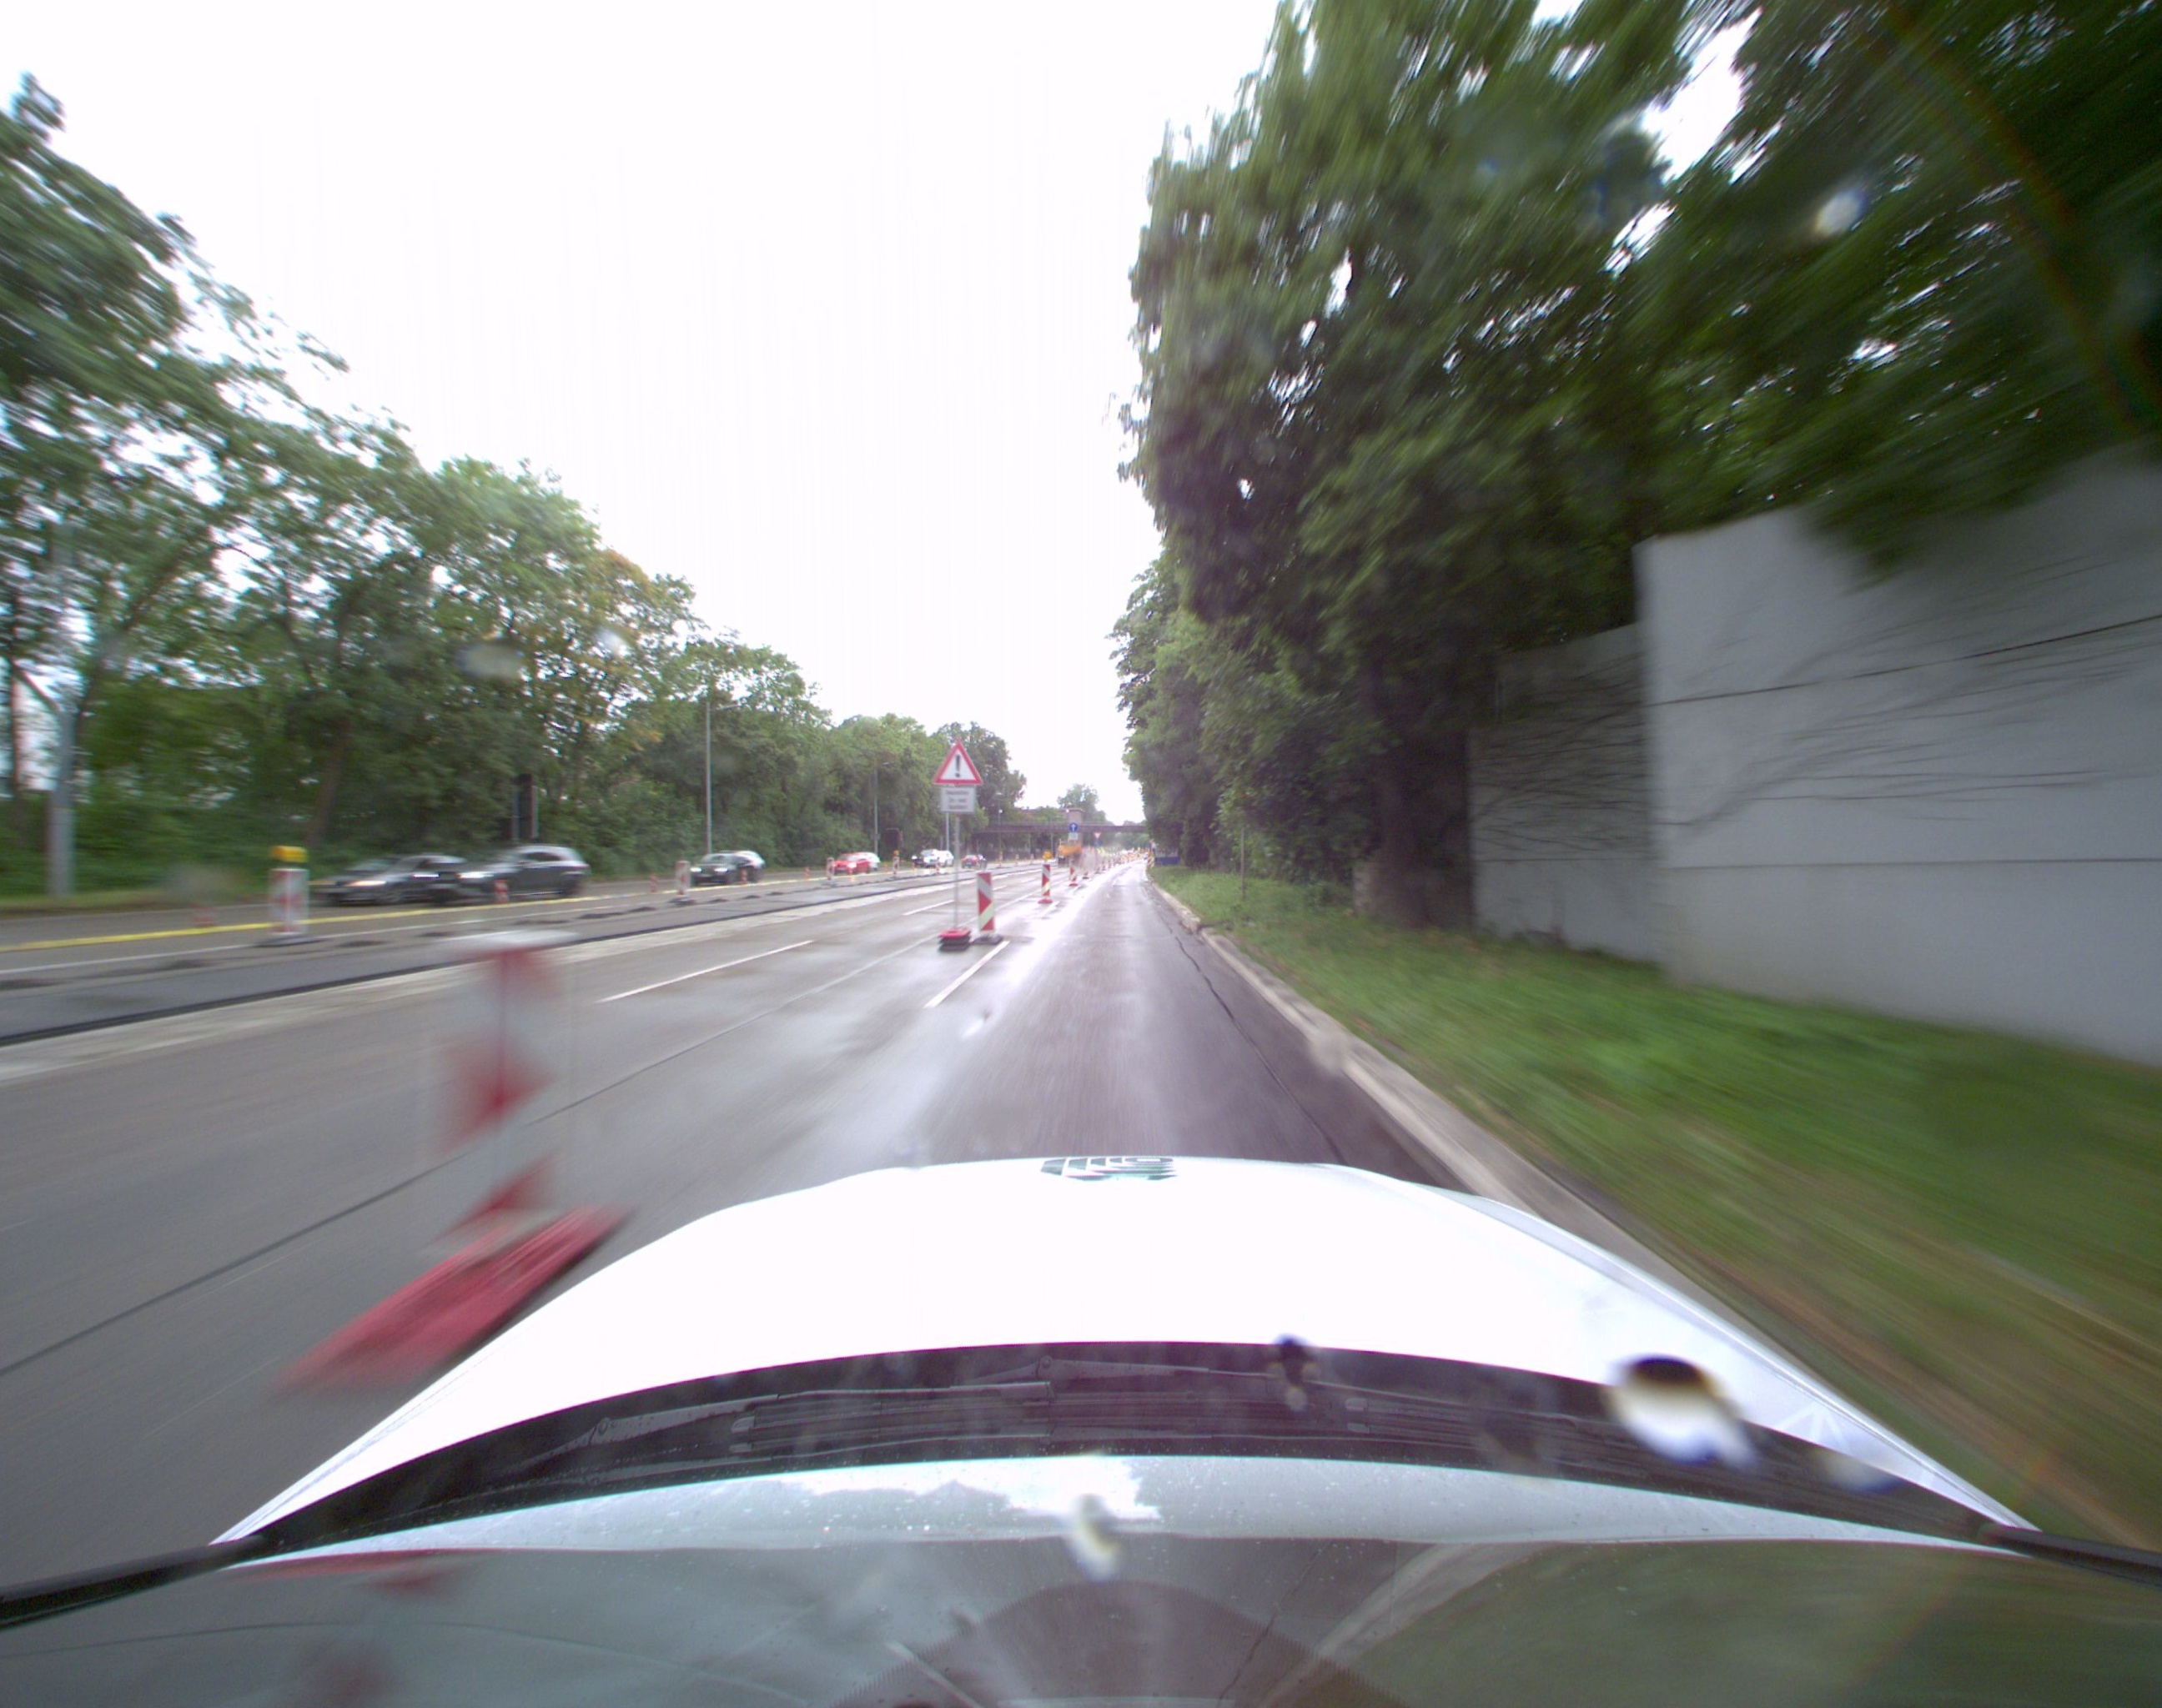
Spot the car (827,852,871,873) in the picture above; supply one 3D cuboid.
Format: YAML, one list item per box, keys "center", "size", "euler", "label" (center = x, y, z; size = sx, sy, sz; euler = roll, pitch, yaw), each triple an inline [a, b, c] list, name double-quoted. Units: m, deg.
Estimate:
- center: [-15.594, 0.545, 54.957]
  size: [1.672, 1.400, 4.016]
  euler: [0, 0, 3]
  label: "car"

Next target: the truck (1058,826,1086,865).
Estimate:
- center: [-0.937, -0.917, 94.477]
  size: [2.887, 4.259, 10.757]
  euler: [0, 0, 1]
  label: "truck"

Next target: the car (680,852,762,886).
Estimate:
- center: [-16.724, 0.670, 38.055]
  size: [1.769, 1.487, 4.200]
  euler: [0, 0, 3]
  label: "car"

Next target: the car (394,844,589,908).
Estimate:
- center: [-17.466, 0.591, 24.529]
  size: [2.013, 1.725, 5.016]
  euler: [0, 0, 3]
  label: "car"

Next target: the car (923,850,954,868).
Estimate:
- center: [-13.783, 0.437, 78.984]
  size: [1.882, 1.661, 4.897]
  euler: [0, 0, 3]
  label: "car"

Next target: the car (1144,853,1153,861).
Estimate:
- center: [14.643, 0.566, 176.394]
  size: [1.984, 1.640, 4.006]
  euler: [-1, 0, 6]
  label: "car"

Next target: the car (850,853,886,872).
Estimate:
- center: [-17.516, 0.655, 67.188]
  size: [1.672, 1.496, 4.152]
  euler: [-2, 0, 3]
  label: "car"

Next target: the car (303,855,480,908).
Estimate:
- center: [-20.054, 0.743, 23.928]
  size: [1.638, 1.420, 4.003]
  euler: [0, 0, 3]
  label: "car"
